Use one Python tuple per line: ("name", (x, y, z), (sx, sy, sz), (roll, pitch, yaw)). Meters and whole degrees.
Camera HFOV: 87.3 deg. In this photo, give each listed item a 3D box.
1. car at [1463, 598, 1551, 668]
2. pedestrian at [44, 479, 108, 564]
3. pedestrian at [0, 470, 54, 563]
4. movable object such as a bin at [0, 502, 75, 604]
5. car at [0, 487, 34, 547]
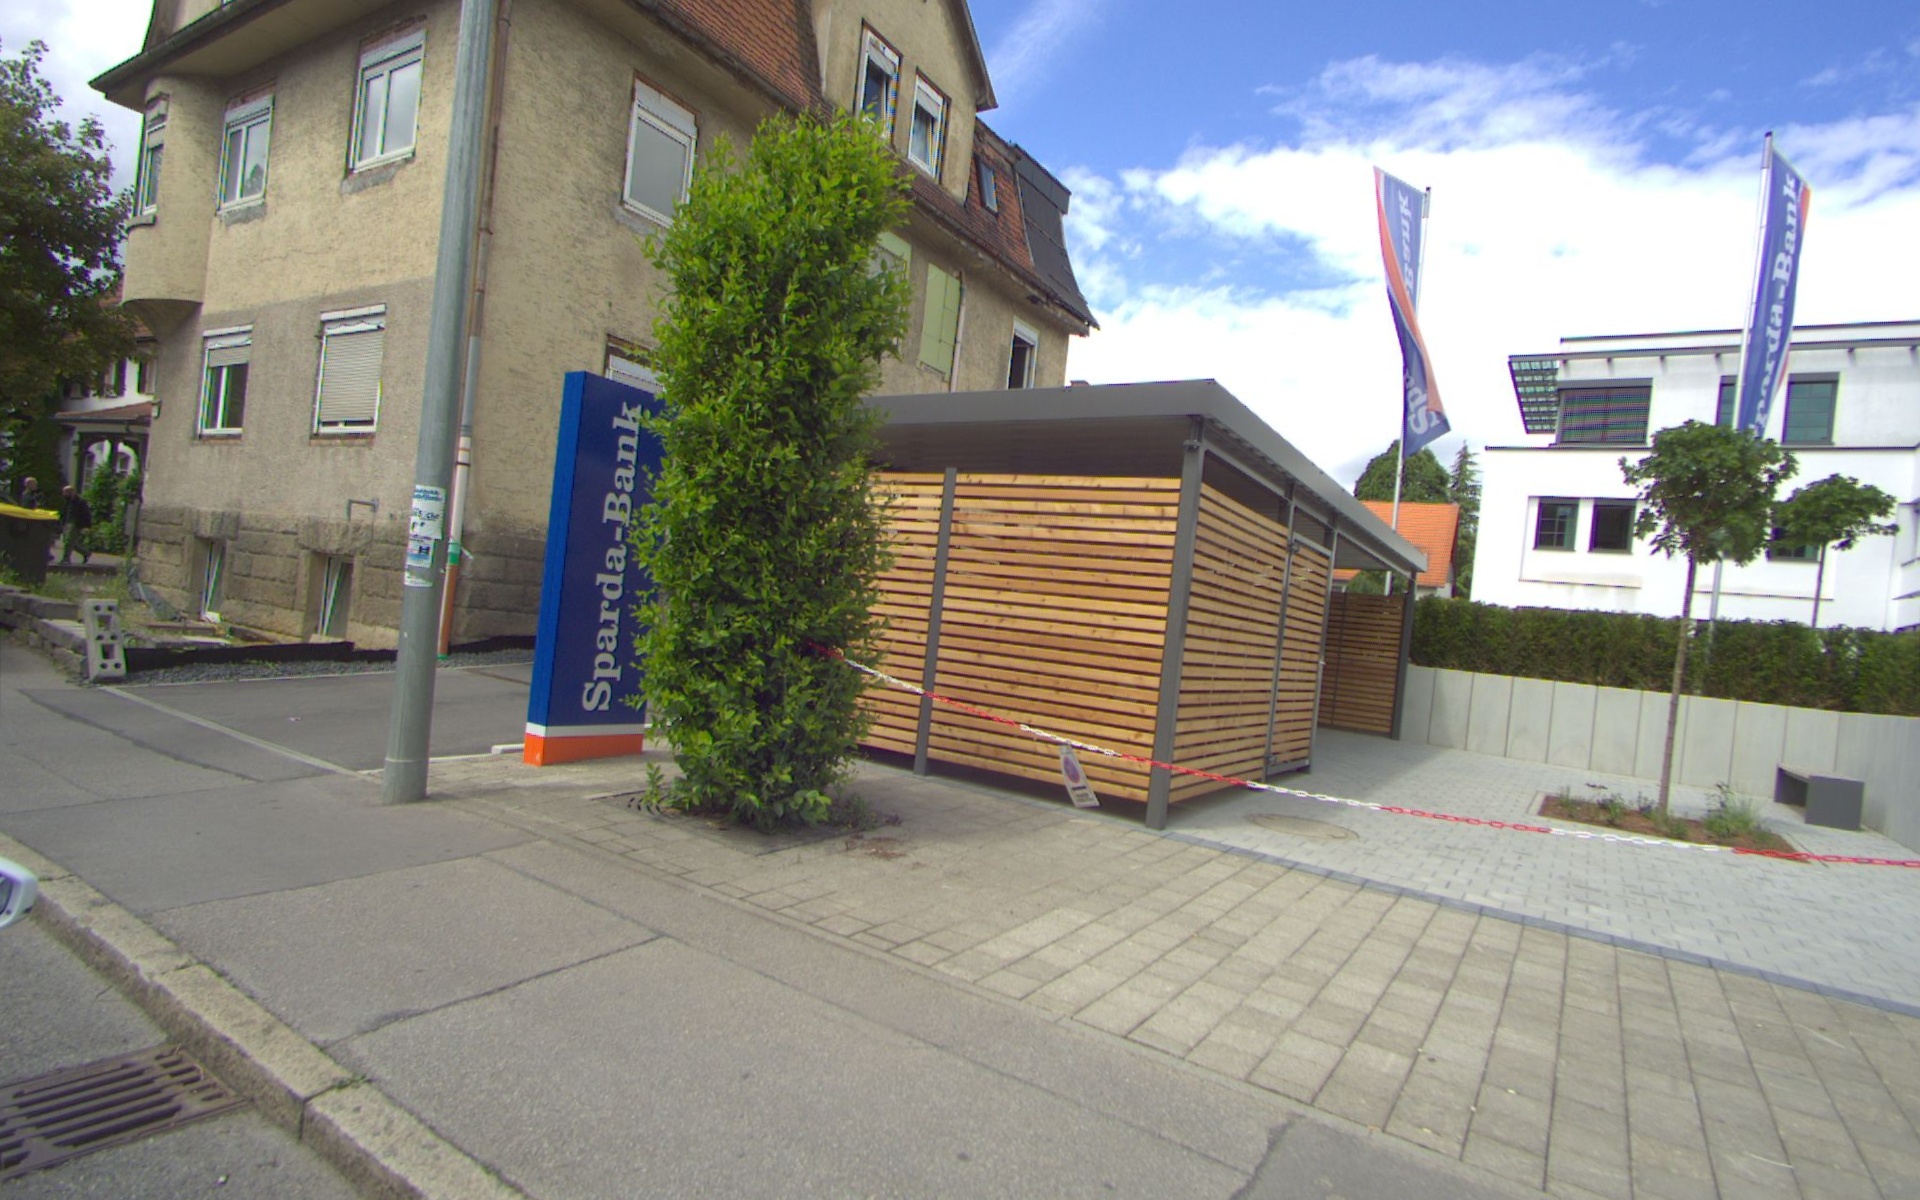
("car", (14.790, 0.944, 27.185), (1.822, 1.491, 3.995), (6, -2, 30))
("pedestrian", (-18.693, -1.645, 21.296), (0.780, 1.663, 0.791), (7, 0, -34))
("pedestrian", (-19.580, -1.732, 21.047), (0.737, 1.804, 0.890), (7, 0, -39))
("movable object such as a bin", (-12.932, -0.677, 13.346), (1.187, 1.281, 1.187), (7, 0, 4))
("car", (-25.826, -2.227, 26.113), (1.736, 1.538, 4.046), (3, 3, -30))
